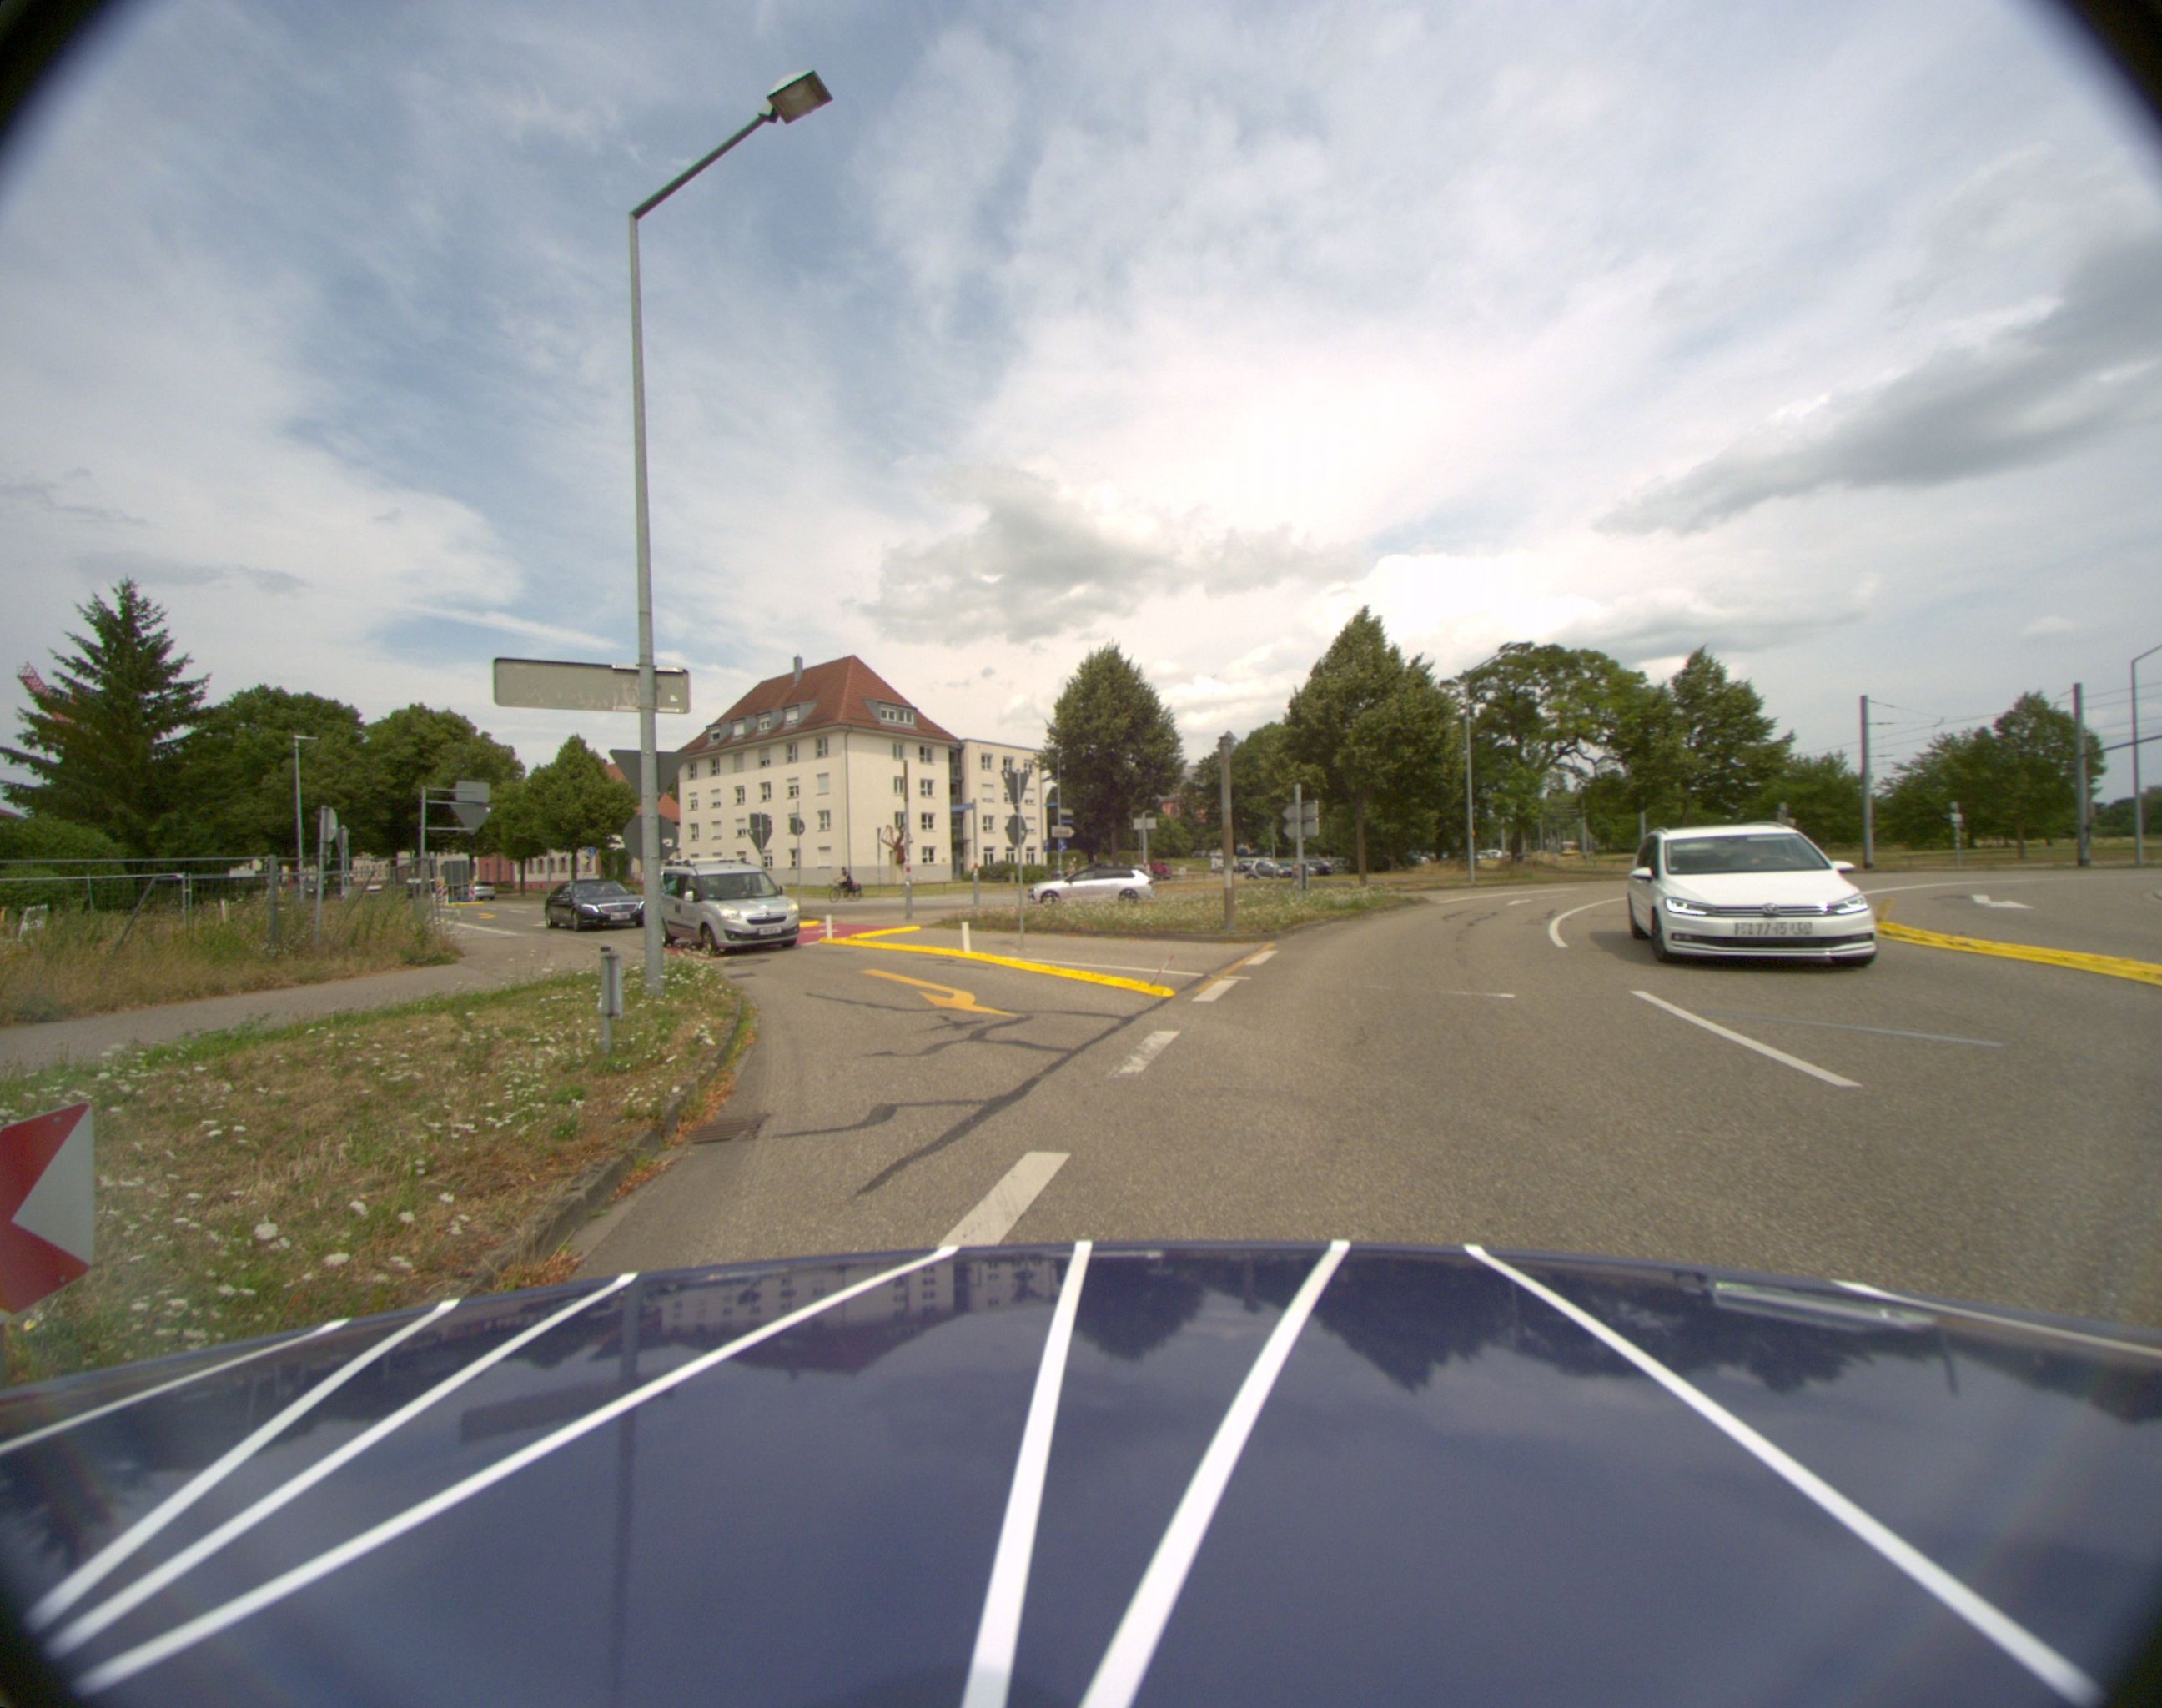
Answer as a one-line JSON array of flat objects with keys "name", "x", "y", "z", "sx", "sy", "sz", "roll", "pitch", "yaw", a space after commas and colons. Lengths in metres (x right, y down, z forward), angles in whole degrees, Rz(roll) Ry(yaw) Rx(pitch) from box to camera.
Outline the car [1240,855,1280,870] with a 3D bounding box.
[{"name": "car", "x": 20.100, "y": 0.959, "z": 85.413, "sx": 3.996, "sy": 1.565, "sz": 1.821, "roll": -2, "pitch": -1, "yaw": 35}]

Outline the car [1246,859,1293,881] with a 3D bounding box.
[{"name": "car", "x": 13.475, "y": 1.154, "z": 54.342, "sx": 2.909, "sy": 1.414, "sz": 1.487, "roll": -4, "pitch": -2, "yaw": 29}]

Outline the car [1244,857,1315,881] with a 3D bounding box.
[{"name": "car", "x": 14.723, "y": 1.107, "z": 56.574, "sx": 4.695, "sy": 1.462, "sz": 1.837, "roll": -4, "pitch": -1, "yaw": 33}]

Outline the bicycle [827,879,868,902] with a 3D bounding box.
[{"name": "bicycle", "x": -11.379, "y": 1.759, "z": 37.052, "sx": 0.600, "sy": 1.040, "sz": 1.833, "roll": -2, "pitch": 0, "yaw": 43}]

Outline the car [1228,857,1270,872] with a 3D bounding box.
[{"name": "car", "x": 17.928, "y": 1.139, "z": 81.186, "sx": 3.996, "sy": 1.459, "sz": 1.821, "roll": -2, "pitch": 0, "yaw": 35}]

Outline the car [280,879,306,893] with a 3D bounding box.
[{"name": "car", "x": -99.196, "y": 4.037, "z": 95.595, "sx": 4.735, "sy": 1.613, "sz": 1.805, "roll": -2, "pitch": 0, "yaw": 39}]

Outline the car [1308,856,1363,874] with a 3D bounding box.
[{"name": "car", "x": 23.079, "y": 1.016, "z": 68.952, "sx": 4.375, "sy": 1.463, "sz": 1.837, "roll": -2, "pitch": 0, "yaw": 36}]

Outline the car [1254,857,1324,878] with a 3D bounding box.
[{"name": "car", "x": 16.094, "y": 1.064, "z": 59.002, "sx": 4.875, "sy": 1.463, "sz": 1.837, "roll": -2, "pitch": 0, "yaw": 36}]

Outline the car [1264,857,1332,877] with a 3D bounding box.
[{"name": "car", "x": 17.397, "y": 1.050, "z": 61.029, "sx": 4.875, "sy": 1.463, "sz": 1.837, "roll": -2, "pitch": 0, "yaw": 36}]

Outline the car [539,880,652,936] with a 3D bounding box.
[{"name": "car", "x": -15.111, "y": 1.611, "z": 23.545, "sx": 4.856, "sy": 1.495, "sz": 1.822, "roll": -3, "pitch": 0, "yaw": 44}]

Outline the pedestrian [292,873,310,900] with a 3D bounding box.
[{"name": "pedestrian", "x": -59.762, "y": 2.509, "z": 58.197, "sx": 0.730, "sy": 2.002, "sz": 0.858, "roll": -2, "pitch": 0, "yaw": 42}]

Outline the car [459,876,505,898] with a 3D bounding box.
[{"name": "car", "x": -44.759, "y": 2.477, "z": 56.721, "sx": 4.207, "sy": 1.510, "sz": 1.632, "roll": -2, "pitch": 0, "yaw": 37}]

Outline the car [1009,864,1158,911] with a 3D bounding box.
[{"name": "car", "x": 0.142, "y": 1.207, "z": 27.541, "sx": 5.178, "sy": 1.473, "sz": 2.001, "roll": -2, "pitch": 0, "yaw": 4}]

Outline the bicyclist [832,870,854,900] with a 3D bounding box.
[{"name": "bicyclist", "x": -11.543, "y": 1.483, "z": 36.870, "sx": 0.600, "sy": 1.415, "sz": 0.805, "roll": -2, "pitch": 0, "yaw": 43}]

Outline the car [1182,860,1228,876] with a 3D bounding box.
[{"name": "car", "x": 11.866, "y": 1.329, "z": 72.801, "sx": 3.996, "sy": 1.459, "sz": 1.821, "roll": -2, "pitch": 0, "yaw": 35}]

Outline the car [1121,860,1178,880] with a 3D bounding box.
[{"name": "car", "x": 5.798, "y": 1.375, "z": 64.749, "sx": 4.395, "sy": 1.588, "sz": 2.004, "roll": -2, "pitch": 0, "yaw": 37}]

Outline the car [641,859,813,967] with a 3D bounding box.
[{"name": "car", "x": -7.685, "y": 1.145, "z": 16.265, "sx": 4.571, "sy": 1.936, "sz": 1.815, "roll": -2, "pitch": 0, "yaw": 45}]

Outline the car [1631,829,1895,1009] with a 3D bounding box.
[{"name": "car", "x": 8.271, "y": 0.604, "z": 9.423, "sx": 1.933, "sy": 1.656, "sz": 4.363, "roll": -4, "pitch": 0, "yaw": 40}]

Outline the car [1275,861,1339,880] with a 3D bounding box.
[{"name": "car", "x": 18.690, "y": 1.340, "z": 62.925, "sx": 4.696, "sy": 1.463, "sz": 1.837, "roll": -2, "pitch": 0, "yaw": 36}]

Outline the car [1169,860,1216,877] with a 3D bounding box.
[{"name": "car", "x": 10.436, "y": 1.366, "z": 71.195, "sx": 3.996, "sy": 1.459, "sz": 1.618, "roll": -2, "pitch": 0, "yaw": 35}]

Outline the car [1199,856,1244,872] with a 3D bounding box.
[{"name": "car", "x": 14.029, "y": 1.032, "z": 76.028, "sx": 3.996, "sy": 1.459, "sz": 1.821, "roll": -2, "pitch": 0, "yaw": 35}]

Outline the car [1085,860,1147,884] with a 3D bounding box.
[{"name": "car", "x": 2.736, "y": 1.455, "z": 60.165, "sx": 4.488, "sy": 1.754, "sz": 2.004, "roll": -2, "pitch": 0, "yaw": 35}]

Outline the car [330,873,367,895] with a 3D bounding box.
[{"name": "car", "x": -79.416, "y": 3.270, "z": 82.314, "sx": 5.146, "sy": 2.259, "sz": 2.004, "roll": -2, "pitch": 0, "yaw": 36}]
